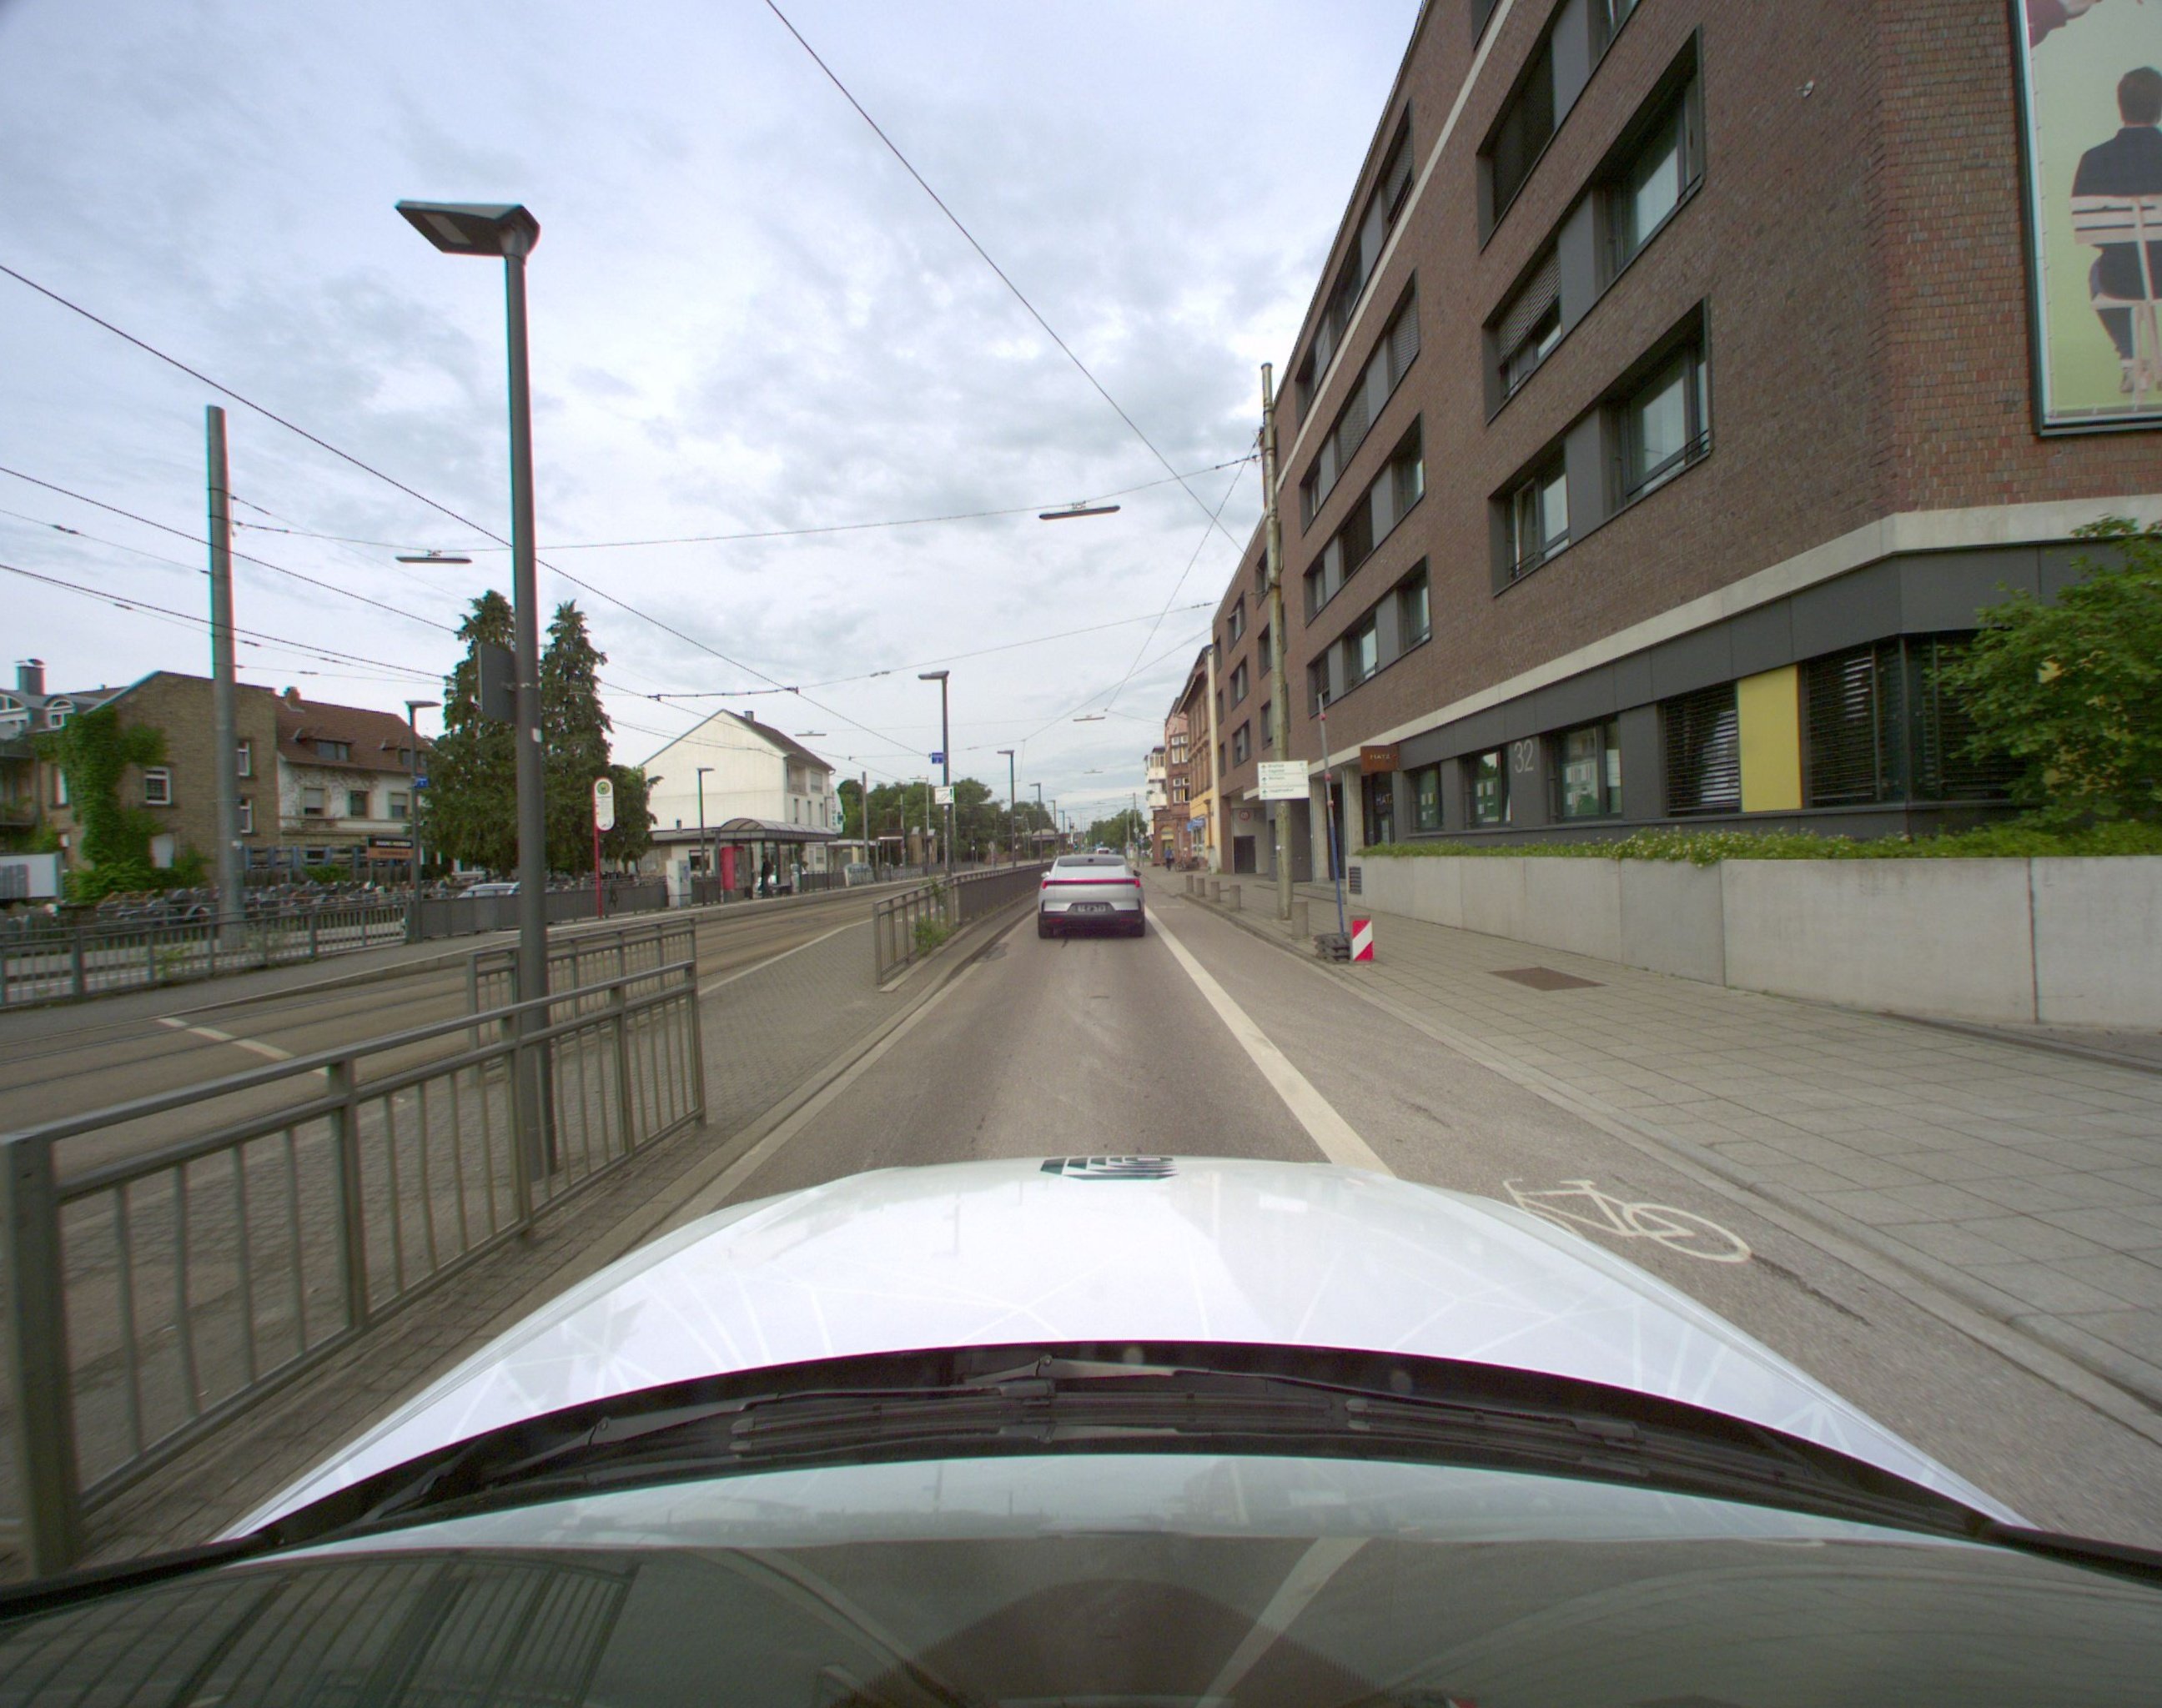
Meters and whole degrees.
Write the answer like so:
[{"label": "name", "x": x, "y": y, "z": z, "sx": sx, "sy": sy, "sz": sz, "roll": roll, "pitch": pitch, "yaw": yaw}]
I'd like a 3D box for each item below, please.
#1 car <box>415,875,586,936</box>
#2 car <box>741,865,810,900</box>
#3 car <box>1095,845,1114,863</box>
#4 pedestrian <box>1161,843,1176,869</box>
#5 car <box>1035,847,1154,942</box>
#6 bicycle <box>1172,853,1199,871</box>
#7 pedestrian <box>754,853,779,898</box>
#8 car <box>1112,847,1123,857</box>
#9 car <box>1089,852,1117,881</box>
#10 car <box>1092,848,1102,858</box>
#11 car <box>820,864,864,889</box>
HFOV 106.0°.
[{"label": "car", "x": -15.284, "y": 1.305, "z": 21.713, "sx": 1.745, "sy": 1.299, "sz": 3.832, "roll": -3, "pitch": 0, "yaw": 0}, {"label": "car", "x": -15.394, "y": 1.391, "z": 41.240, "sx": 1.858, "sy": 1.486, "sz": 4.000, "roll": -5, "pitch": 0, "yaw": 1}, {"label": "car", "x": 3.272, "y": -0.033, "z": 113.304, "sx": 2.220, "sy": 2.402, "sz": 5.119, "roll": -1, "pitch": 0, "yaw": -2}, {"label": "pedestrian", "x": 6.514, "y": 0.149, "z": 60.847, "sx": 0.955, "sy": 1.850, "sz": 0.977, "roll": -4, "pitch": 0, "yaw": 7}, {"label": "car", "x": 0.136, "y": 0.714, "z": 15.926, "sx": 1.995, "sy": 1.581, "sz": 3.995, "roll": -1, "pitch": -1, "yaw": -3}, {"label": "bicycle", "x": 7.293, "y": 0.543, "z": 56.800, "sx": 1.772, "sy": 1.129, "sz": 0.642, "roll": -5, "pitch": 0, "yaw": 0}, {"label": "pedestrian", "x": -12.025, "y": 0.823, "z": 31.158, "sx": 0.701, "sy": 1.664, "sz": 0.610, "roll": -1, "pitch": -1, "yaw": -43}, {"label": "car", "x": 9.592, "y": -0.404, "z": 216.405, "sx": 2.797, "sy": 2.505, "sz": 5.724, "roll": -1, "pitch": 0, "yaw": 1}, {"label": "car", "x": 1.404, "y": 0.783, "z": 51.400, "sx": 1.675, "sy": 1.687, "sz": 3.825, "roll": -1, "pitch": 0, "yaw": 2}, {"label": "car", "x": 3.603, "y": -0.190, "z": 181.784, "sx": 1.986, "sy": 2.013, "sz": 4.001, "roll": -2, "pitch": 0, "yaw": 1}, {"label": "car", "x": -14.797, "y": 1.375, "z": 50.590, "sx": 1.760, "sy": 1.451, "sz": 3.993, "roll": -2, "pitch": -1, "yaw": -5}]
